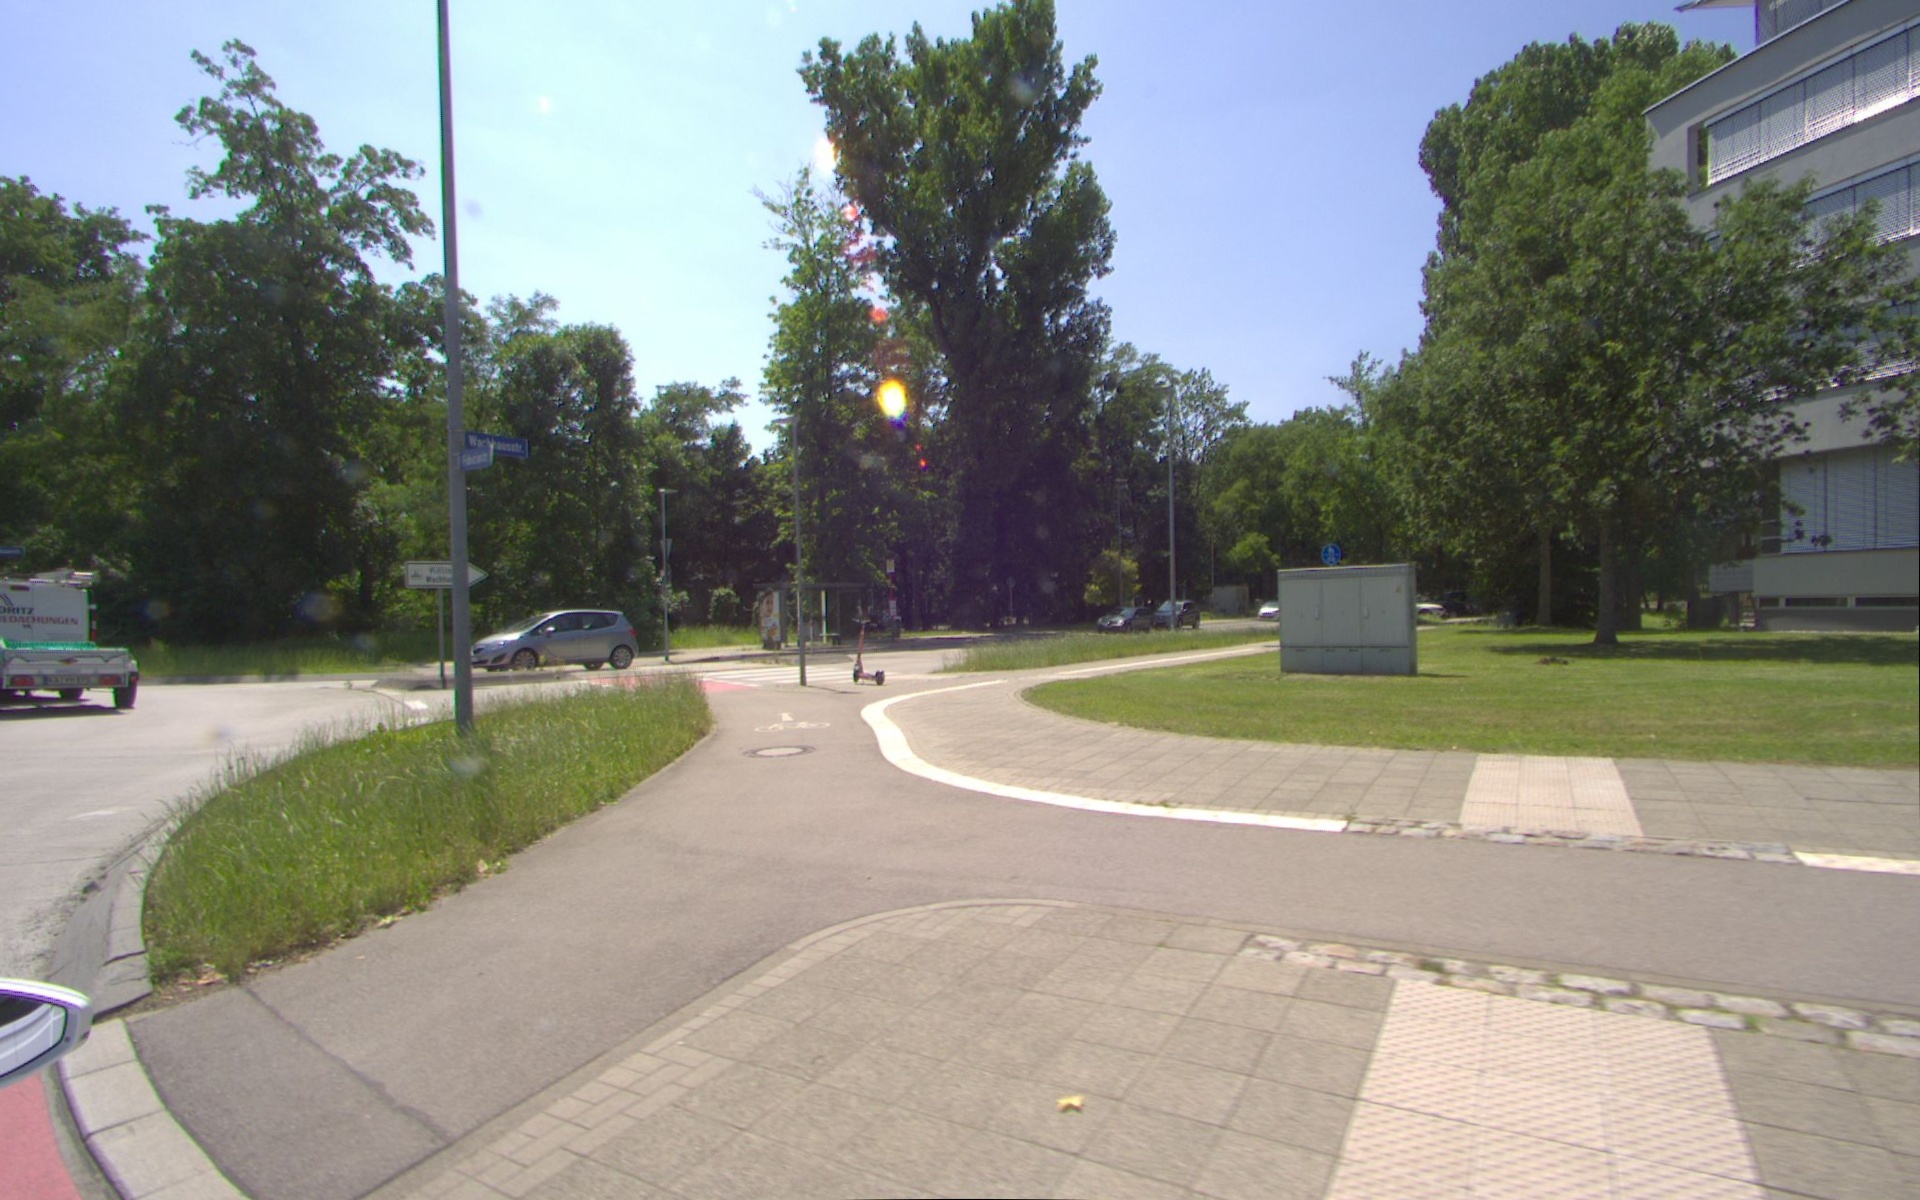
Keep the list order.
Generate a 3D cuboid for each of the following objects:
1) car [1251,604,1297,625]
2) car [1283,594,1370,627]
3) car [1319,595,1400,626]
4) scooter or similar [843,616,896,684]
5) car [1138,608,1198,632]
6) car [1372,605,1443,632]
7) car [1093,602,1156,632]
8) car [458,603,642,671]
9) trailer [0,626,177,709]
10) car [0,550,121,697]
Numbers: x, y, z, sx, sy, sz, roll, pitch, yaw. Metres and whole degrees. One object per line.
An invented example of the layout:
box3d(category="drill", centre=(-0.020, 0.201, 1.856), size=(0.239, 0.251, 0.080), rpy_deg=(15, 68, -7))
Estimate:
box3d(category="car", centre=(23.199, 1.047, 73.915), size=(1.975, 1.488, 3.972), rpy_deg=(-2, -1, 38))
box3d(category="car", centre=(17.637, 0.529, 48.262), size=(3.633, 1.502, 1.859), rpy_deg=(-2, -1, 33))
box3d(category="car", centre=(20.730, 0.564, 51.973), size=(3.633, 1.502, 1.859), rpy_deg=(-2, -1, 33))
box3d(category="scooter or similar", centre=(-1.717, 0.929, 18.918), size=(0.441, 1.217, 1.391), rpy_deg=(-1, -1, -30))
box3d(category="car", centre=(12.223, 1.151, 58.687), size=(1.974, 1.327, 3.975), rpy_deg=(-2, -1, 36))
box3d(category="car", centre=(26.676, 1.119, 59.683), size=(3.633, 1.502, 1.859), rpy_deg=(-2, -1, 33))
box3d(category="car", centre=(8.816, 0.882, 53.540), size=(1.680, 1.506, 3.974), rpy_deg=(2, 1, 36))
box3d(category="car", centre=(-10.598, 0.913, 26.088), size=(1.771, 1.627, 4.091), rpy_deg=(-2, -1, 43))
box3d(category="trailer", centre=(-13.766, 0.979, 15.363), size=(3.315, 1.111, 2.112), rpy_deg=(-2, -1, 39))
box3d(category="car", centre=(-17.079, 0.436, 17.685), size=(4.913, 2.346, 2.161), rpy_deg=(-2, -1, 34))
